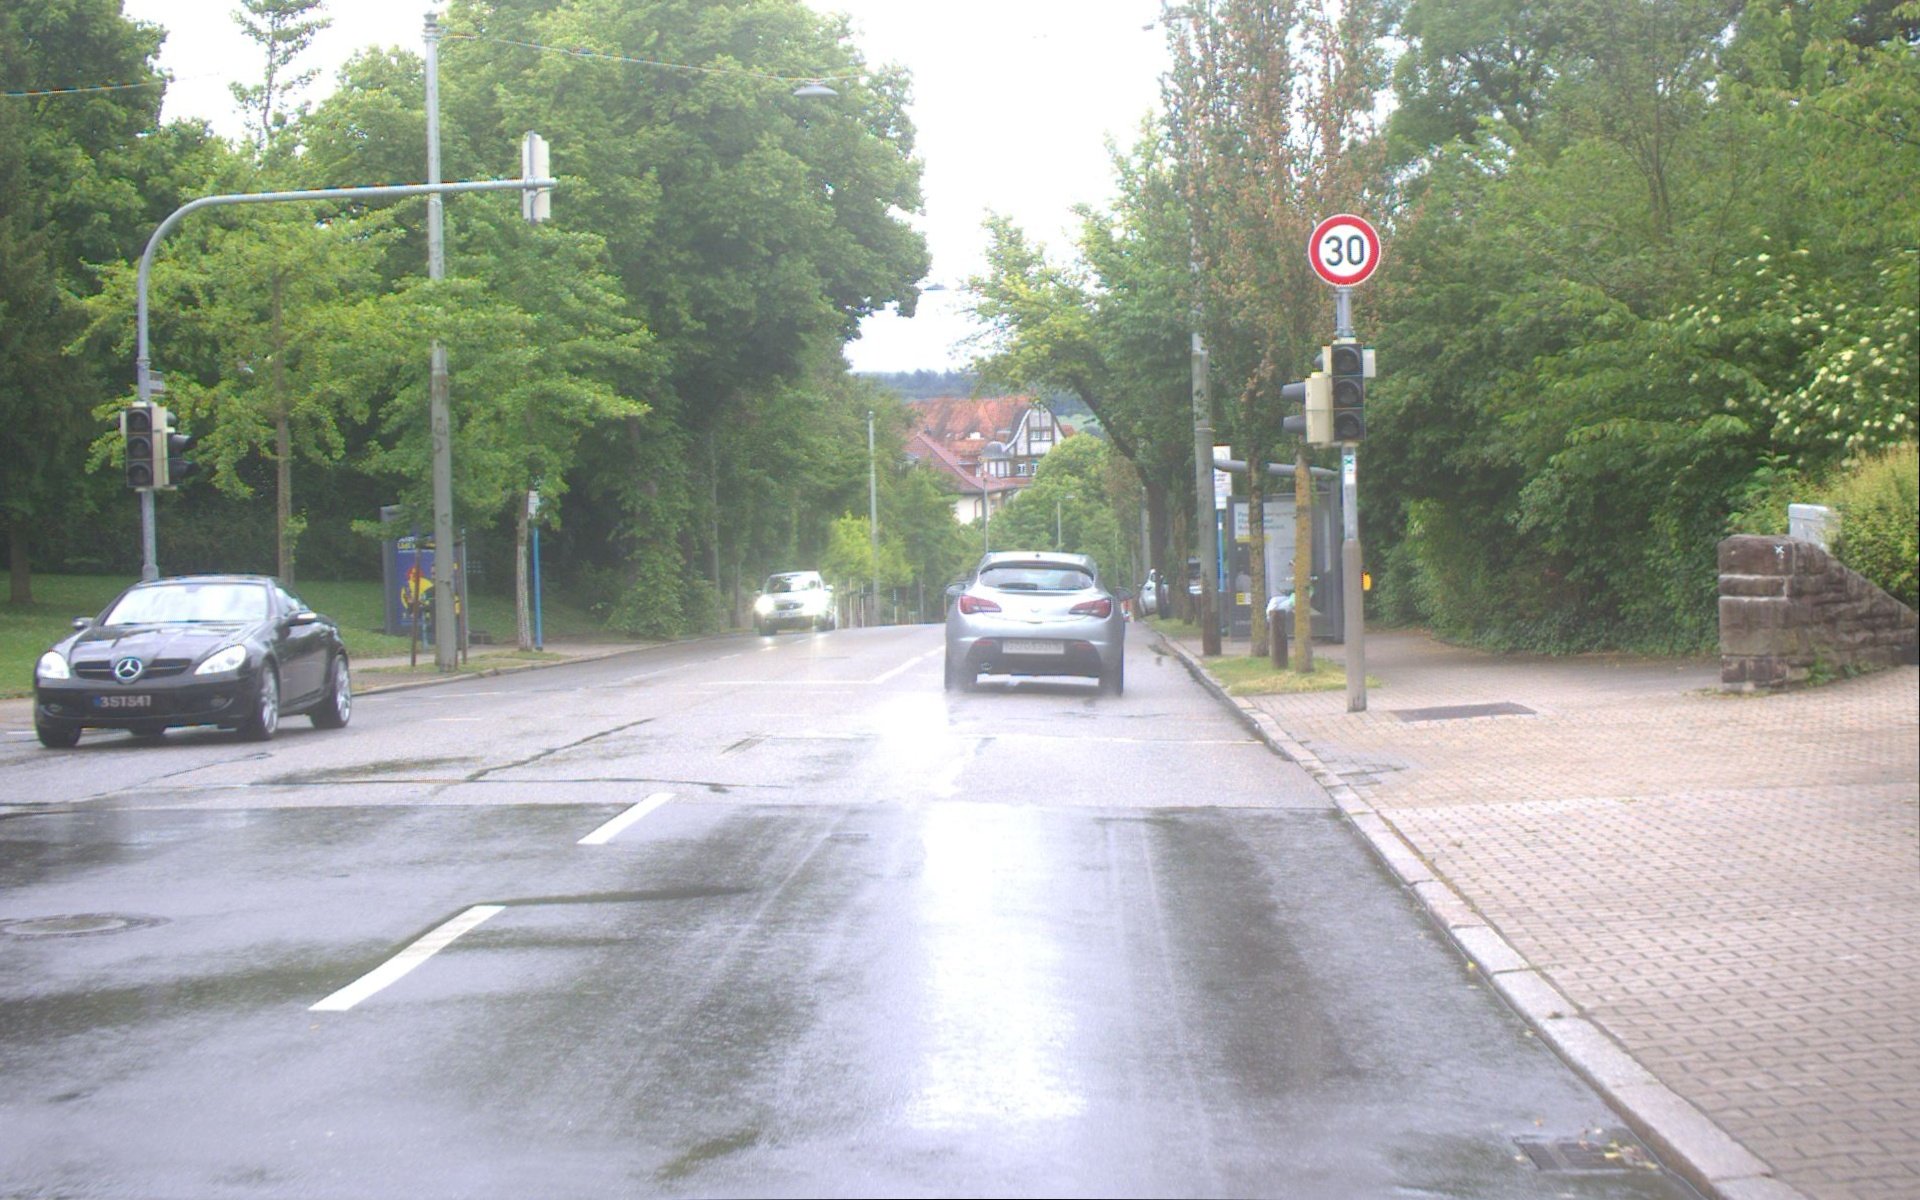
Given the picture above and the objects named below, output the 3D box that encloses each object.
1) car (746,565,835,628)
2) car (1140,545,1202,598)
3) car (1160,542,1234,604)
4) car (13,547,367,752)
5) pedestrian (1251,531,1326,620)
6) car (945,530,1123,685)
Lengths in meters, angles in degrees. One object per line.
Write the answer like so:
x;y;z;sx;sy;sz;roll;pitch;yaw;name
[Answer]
-3.966;-0.101;81.078;1.721;1.394;4.000;1;1;2;car
6.274;-0.858;102.531;1.721;1.459;4.000;-2;1;3;car
6.000;-0.698;87.368;1.721;1.459;4.000;-2;1;3;car
-5.964;0.331;27.090;1.661;1.302;4.083;-3;2;2;car
5.211;-0.392;54.542;1.074;1.351;0.918;-2;1;9;pedestrian
0.760;0.034;36.229;1.754;1.459;4.000;1;2;1;car
